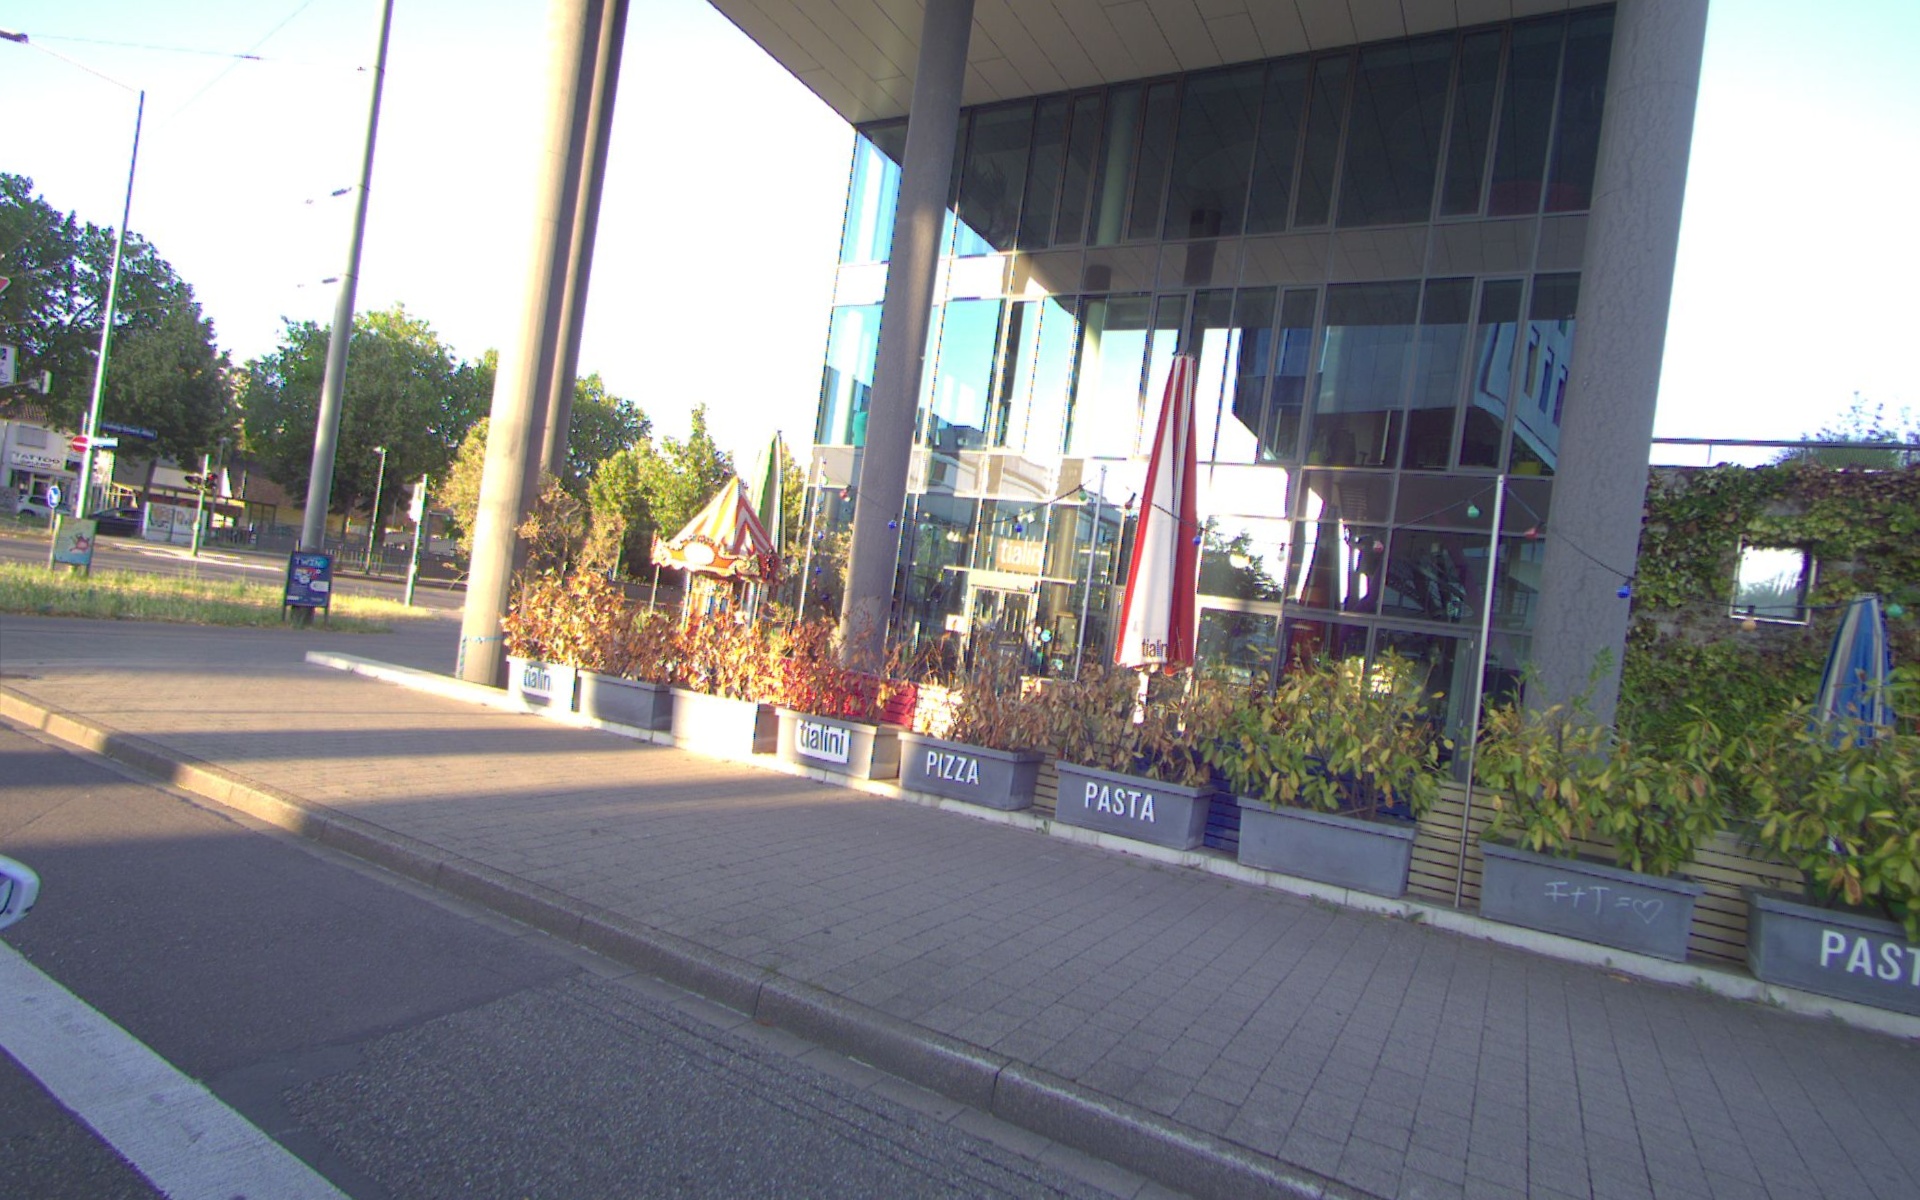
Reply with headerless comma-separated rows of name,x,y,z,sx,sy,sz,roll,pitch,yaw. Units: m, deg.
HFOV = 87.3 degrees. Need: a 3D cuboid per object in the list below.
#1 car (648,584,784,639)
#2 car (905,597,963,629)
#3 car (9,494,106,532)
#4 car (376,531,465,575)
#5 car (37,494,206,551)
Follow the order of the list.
car,-9.706,0.508,40.432,1.960,1.528,5.005,7,-2,40
car,-2.726,1.422,109.128,2.765,2.666,6.931,6,-2,32
car,-50.298,-4.837,56.113,1.641,1.456,3.736,6,-2,41
car,-42.613,-3.679,79.545,2.197,2.581,5.594,7,-2,39
car,-36.551,-3.355,44.047,1.967,1.570,5.235,6,-2,31
